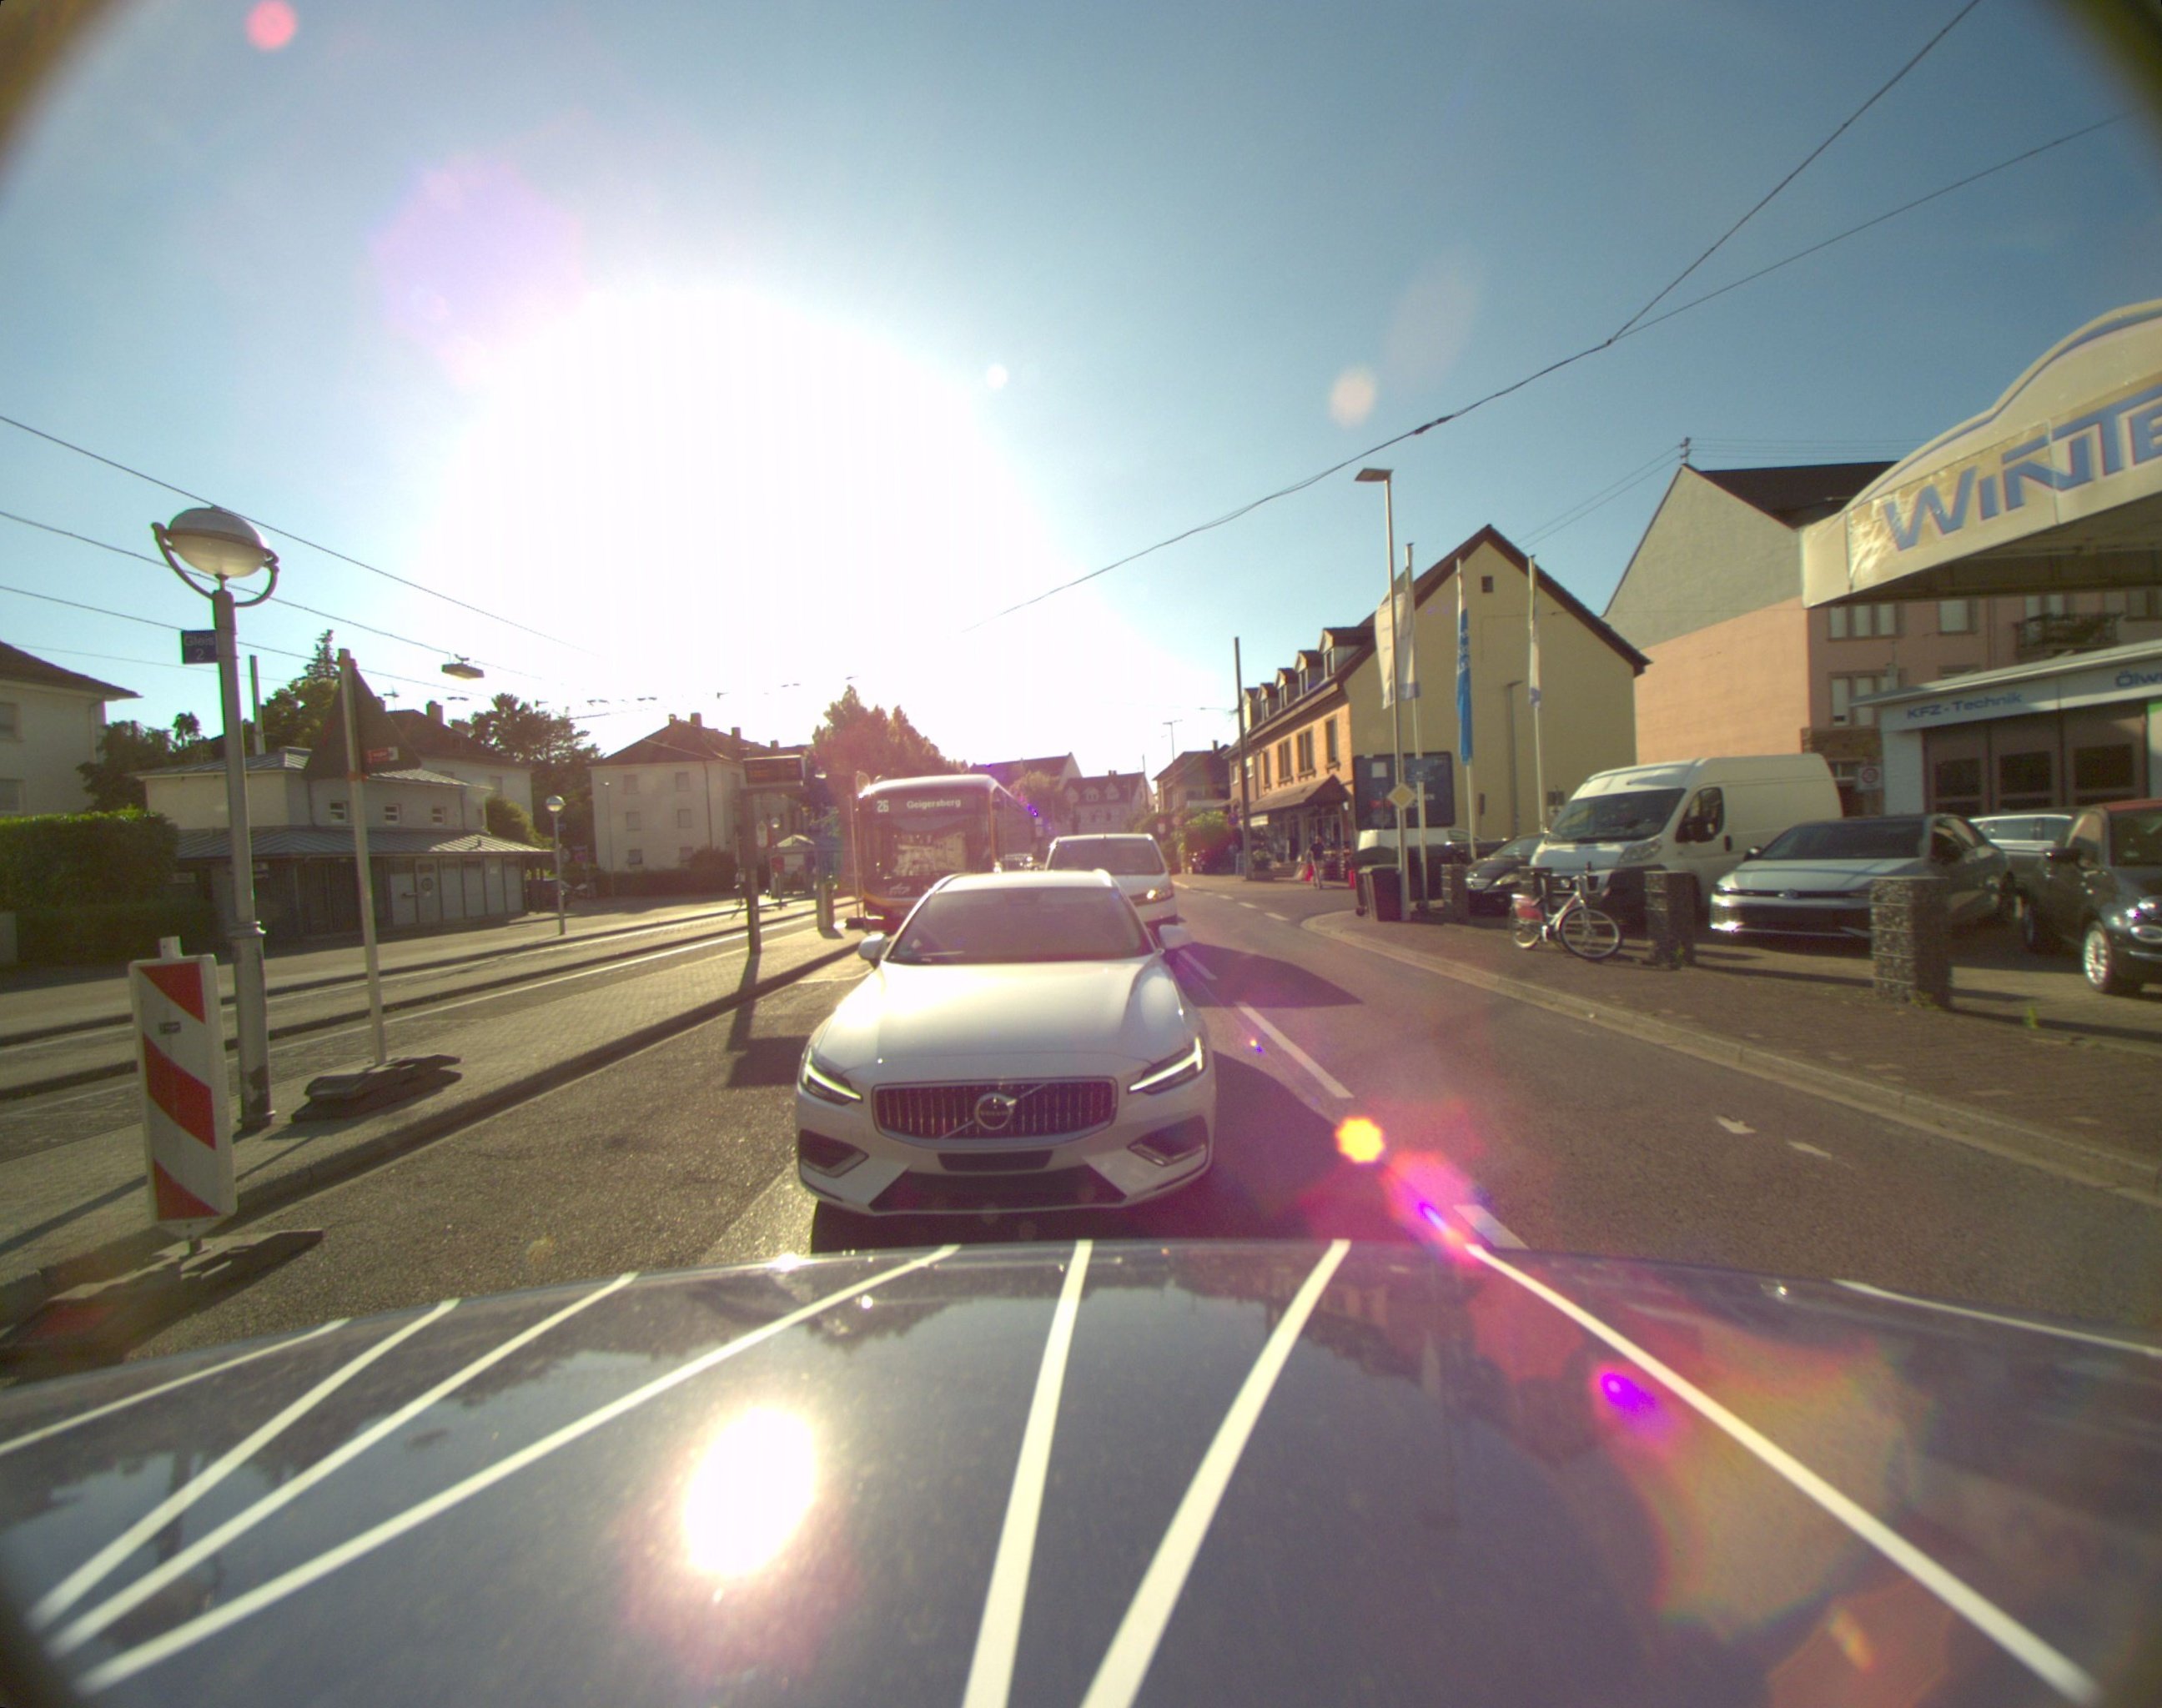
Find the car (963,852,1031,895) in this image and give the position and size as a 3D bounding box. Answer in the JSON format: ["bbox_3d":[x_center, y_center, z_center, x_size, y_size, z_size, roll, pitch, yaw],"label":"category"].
[{"bbox_3d":[-3.155,0.708,29.506,1.969,1.450,4.824,-2,0,1],"label":"car"}]

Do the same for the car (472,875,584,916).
[{"bbox_3d":[-27.691,2.051,38.144,4.052,1.663,2.000,-4,1,2],"label":"car"}]

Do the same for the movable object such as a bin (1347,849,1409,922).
[{"bbox_3d":[6.233,0.643,15.956,1.045,1.456,0.797,-2,1,32],"label":"movable object such as a bin"}]

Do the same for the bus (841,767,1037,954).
[{"bbox_3d":[-2.923,0.097,19.839,2.748,3.284,12.030,-2,0,0],"label":"bus"}]

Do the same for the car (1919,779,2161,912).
[{"bbox_3d":[16.477,-0.171,11.994,1.742,1.933,4.257,-3,1,-1],"label":"car"}]

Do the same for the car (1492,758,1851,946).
[{"bbox_3d":[9.140,-0.132,11.767,4.997,2.440,2.111,-3,1,-22],"label":"car"}]

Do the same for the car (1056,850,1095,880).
[{"bbox_3d":[-0.256,0.569,41.514,1.969,1.450,4.824,-2,0,1],"label":"car"}]

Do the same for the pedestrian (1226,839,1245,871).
[{"bbox_3d":[8.384,0.033,41.216,0.808,1.703,0.860,-2,1,18],"label":"pedestrian"}]

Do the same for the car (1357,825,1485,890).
[{"bbox_3d":[11.561,0.100,25.928,3.672,2.002,1.451,-2,1,-3],"label":"car"}]

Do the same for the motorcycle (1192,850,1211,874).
[{"bbox_3d":[6.349,0.420,40.126,0.708,1.210,2.186,-2,1,3],"label":"motorcycle"}]

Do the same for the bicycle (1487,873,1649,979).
[{"bbox_3d":[5.878,0.816,9.320,0.725,1.080,1.791,-3,1,-3],"label":"bicycle"}]

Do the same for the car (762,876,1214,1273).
[{"bbox_3d":[-0.356,0.984,5.262,1.821,1.446,4.217,-2,0,1],"label":"car"}]

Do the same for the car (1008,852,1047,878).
[{"bbox_3d":[-3.275,0.634,47.309,1.969,1.450,4.824,-2,0,1],"label":"car"}]

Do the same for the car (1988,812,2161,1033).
[{"bbox_3d":[9.073,0.414,6.171,1.590,1.488,3.442,-2,1,40],"label":"car"}]

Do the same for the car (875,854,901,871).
[{"bbox_3d":[-23.266,1.023,91.778,1.998,1.853,3.999,-2,1,1],"label":"car"}]

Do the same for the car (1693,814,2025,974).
[{"bbox_3d":[9.487,0.361,9.217,4.036,1.488,1.739,-3,1,-28],"label":"car"}]

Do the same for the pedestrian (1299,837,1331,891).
[{"bbox_3d":[8.166,0.334,26.571,0.822,1.842,0.767,-2,1,-2],"label":"pedestrian"}]

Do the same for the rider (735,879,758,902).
[{"bbox_3d":[-15.711,1.703,35.662,0.581,0.986,1.853,-3,1,-35],"label":"rider"}]

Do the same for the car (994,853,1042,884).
[{"bbox_3d":[-3.232,0.708,39.895,1.969,1.450,4.824,-2,0,1],"label":"car"}]

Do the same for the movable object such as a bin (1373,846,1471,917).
[{"bbox_3d":[7.590,0.581,16.920,1.798,1.456,1.046,-3,1,-25],"label":"movable object such as a bin"}]

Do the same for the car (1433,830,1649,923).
[{"bbox_3d":[8.964,0.376,14.753,4.036,1.469,1.739,-3,1,-28],"label":"car"}]

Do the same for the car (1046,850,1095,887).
[{"bbox_3d":[-0.395,0.586,33.267,1.969,1.450,4.824,-2,0,1],"label":"car"}]

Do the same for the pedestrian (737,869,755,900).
[{"bbox_3d":[-15.715,1.424,35.647,0.581,1.373,0.657,-3,1,-35],"label":"pedestrian"}]

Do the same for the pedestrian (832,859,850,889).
[{"bbox_3d":[-13.367,1.114,42.404,0.843,1.601,0.824,-2,1,-14],"label":"pedestrian"}]

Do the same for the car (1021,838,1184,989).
[{"bbox_3d":[0.300,0.736,12.016,1.969,1.816,5.033,-2,0,1],"label":"car"}]
